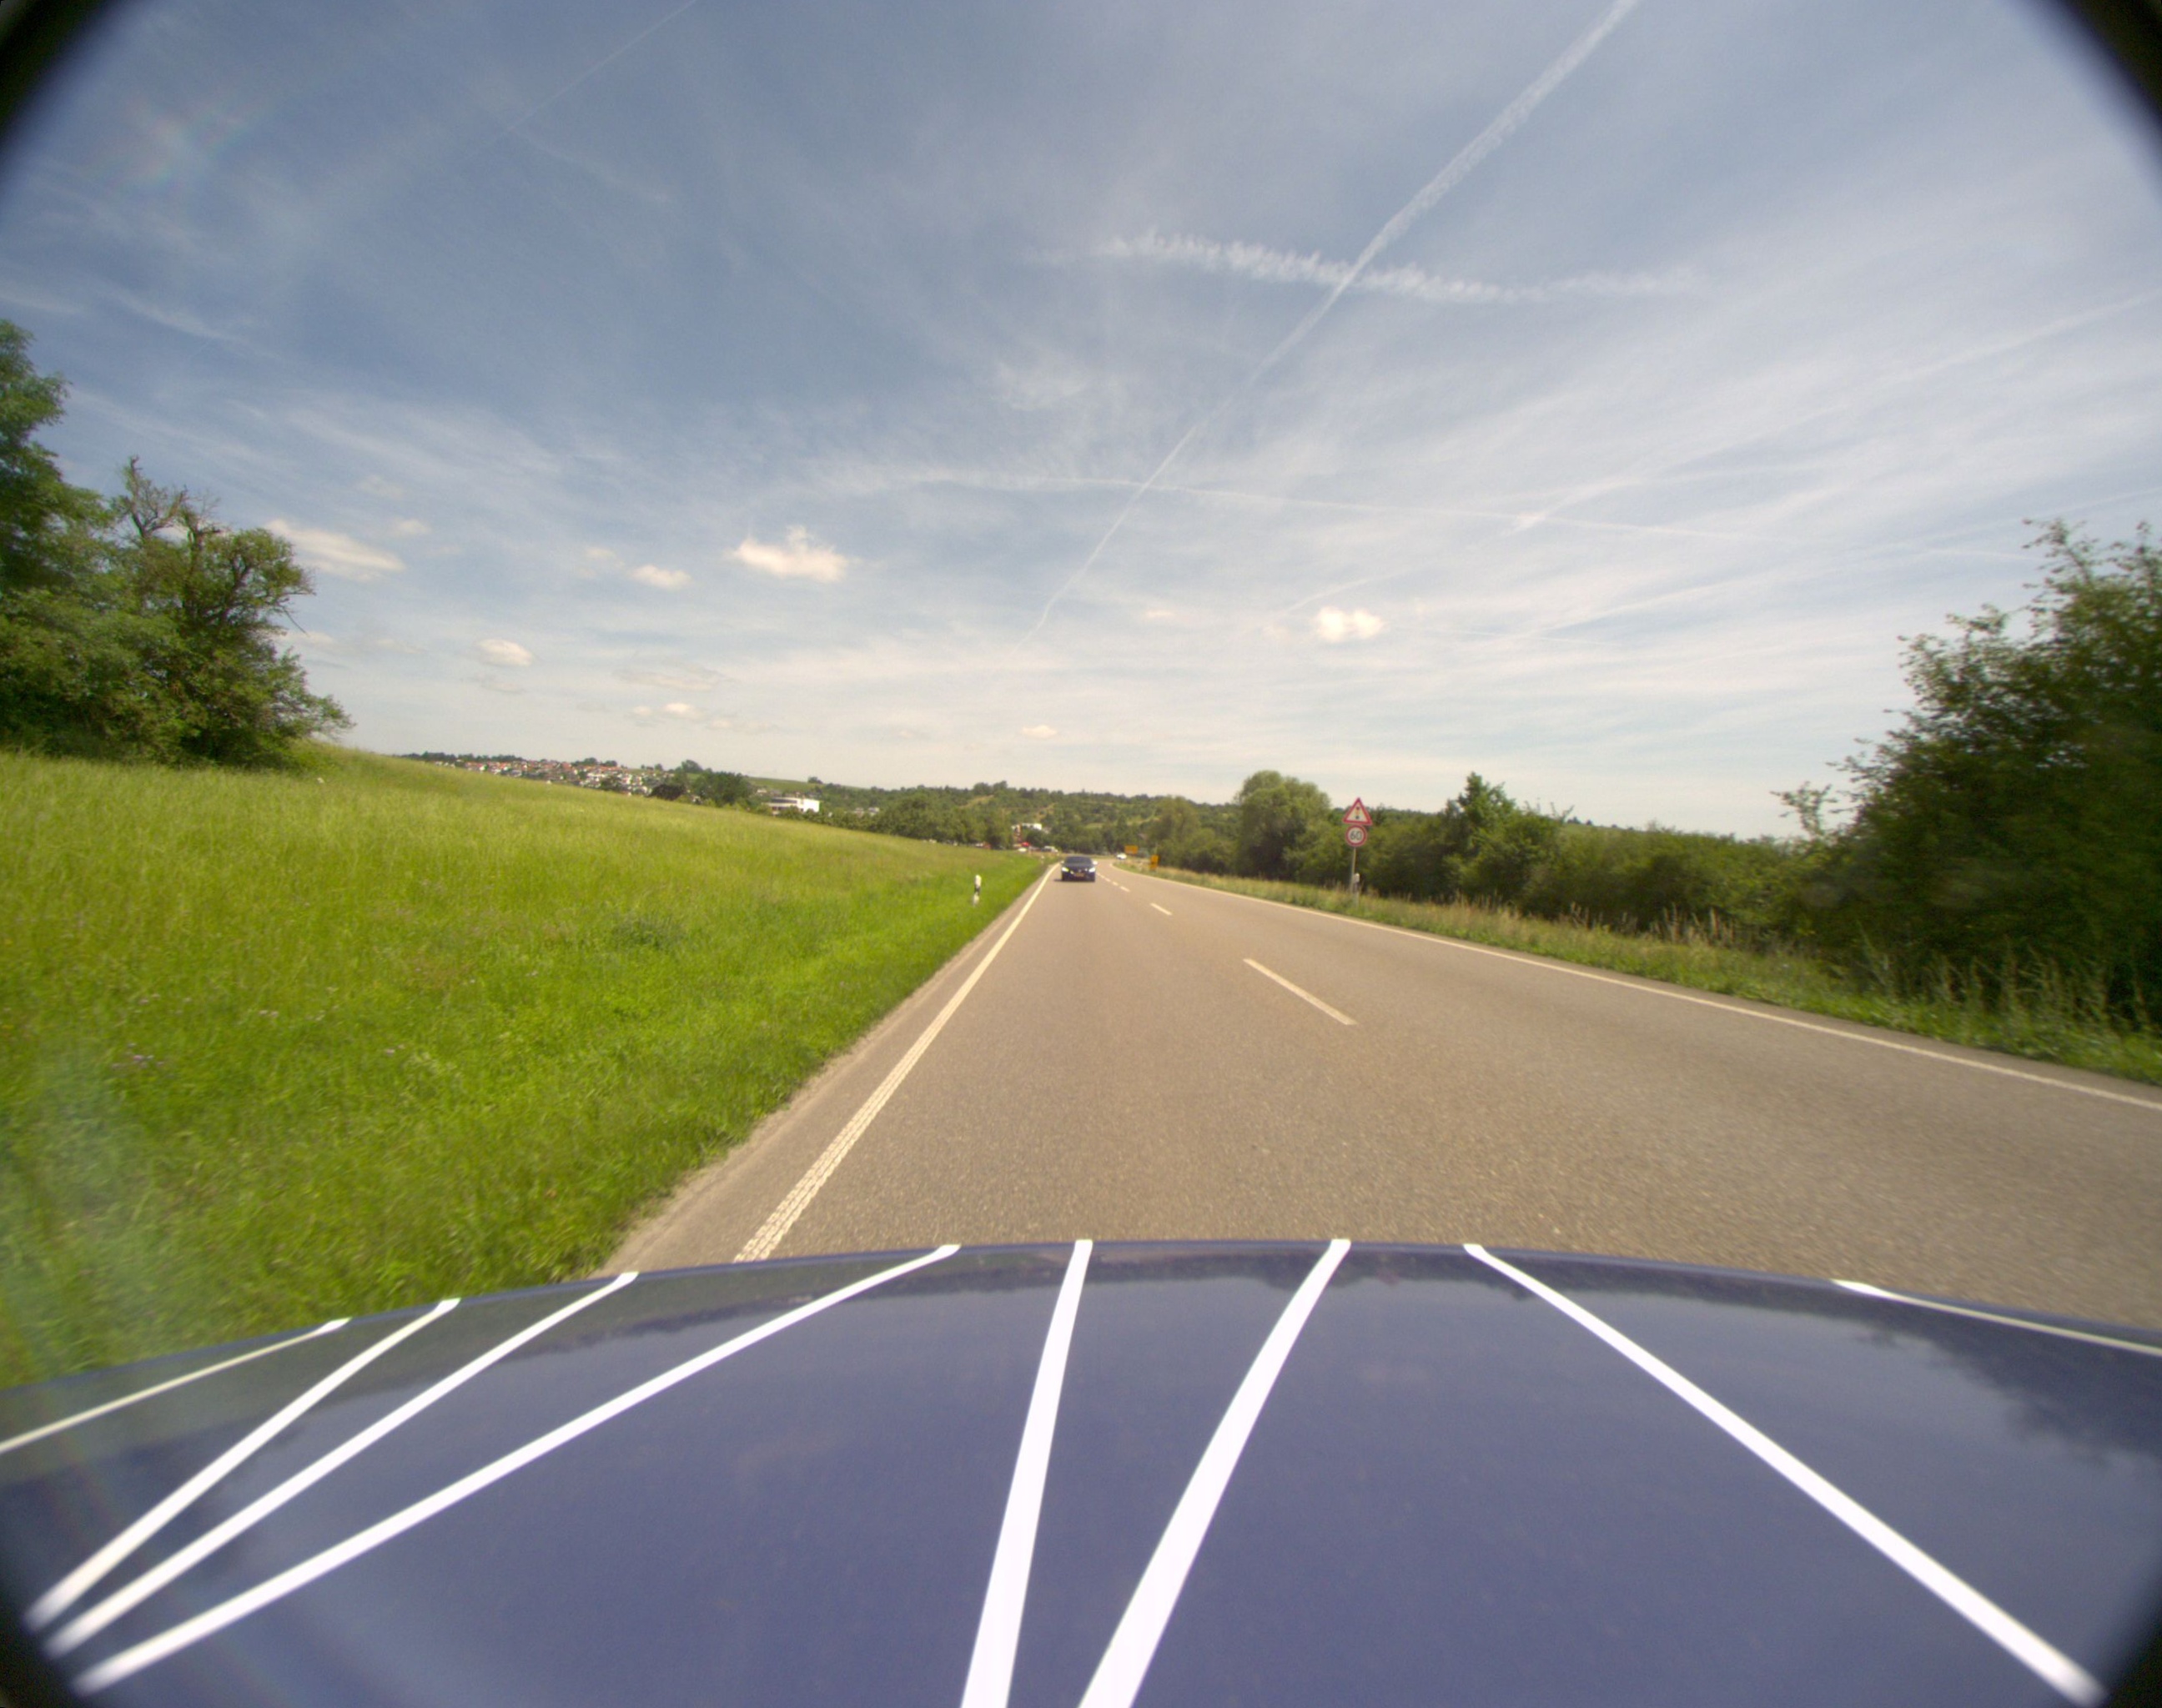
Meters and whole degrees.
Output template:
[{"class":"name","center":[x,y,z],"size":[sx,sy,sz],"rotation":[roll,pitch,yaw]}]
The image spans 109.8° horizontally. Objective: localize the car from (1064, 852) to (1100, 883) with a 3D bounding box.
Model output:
[{"class":"car","center":[0.063,0.678,41.657],"size":[1.785,1.440,4.603],"rotation":[3,1,0]}]
